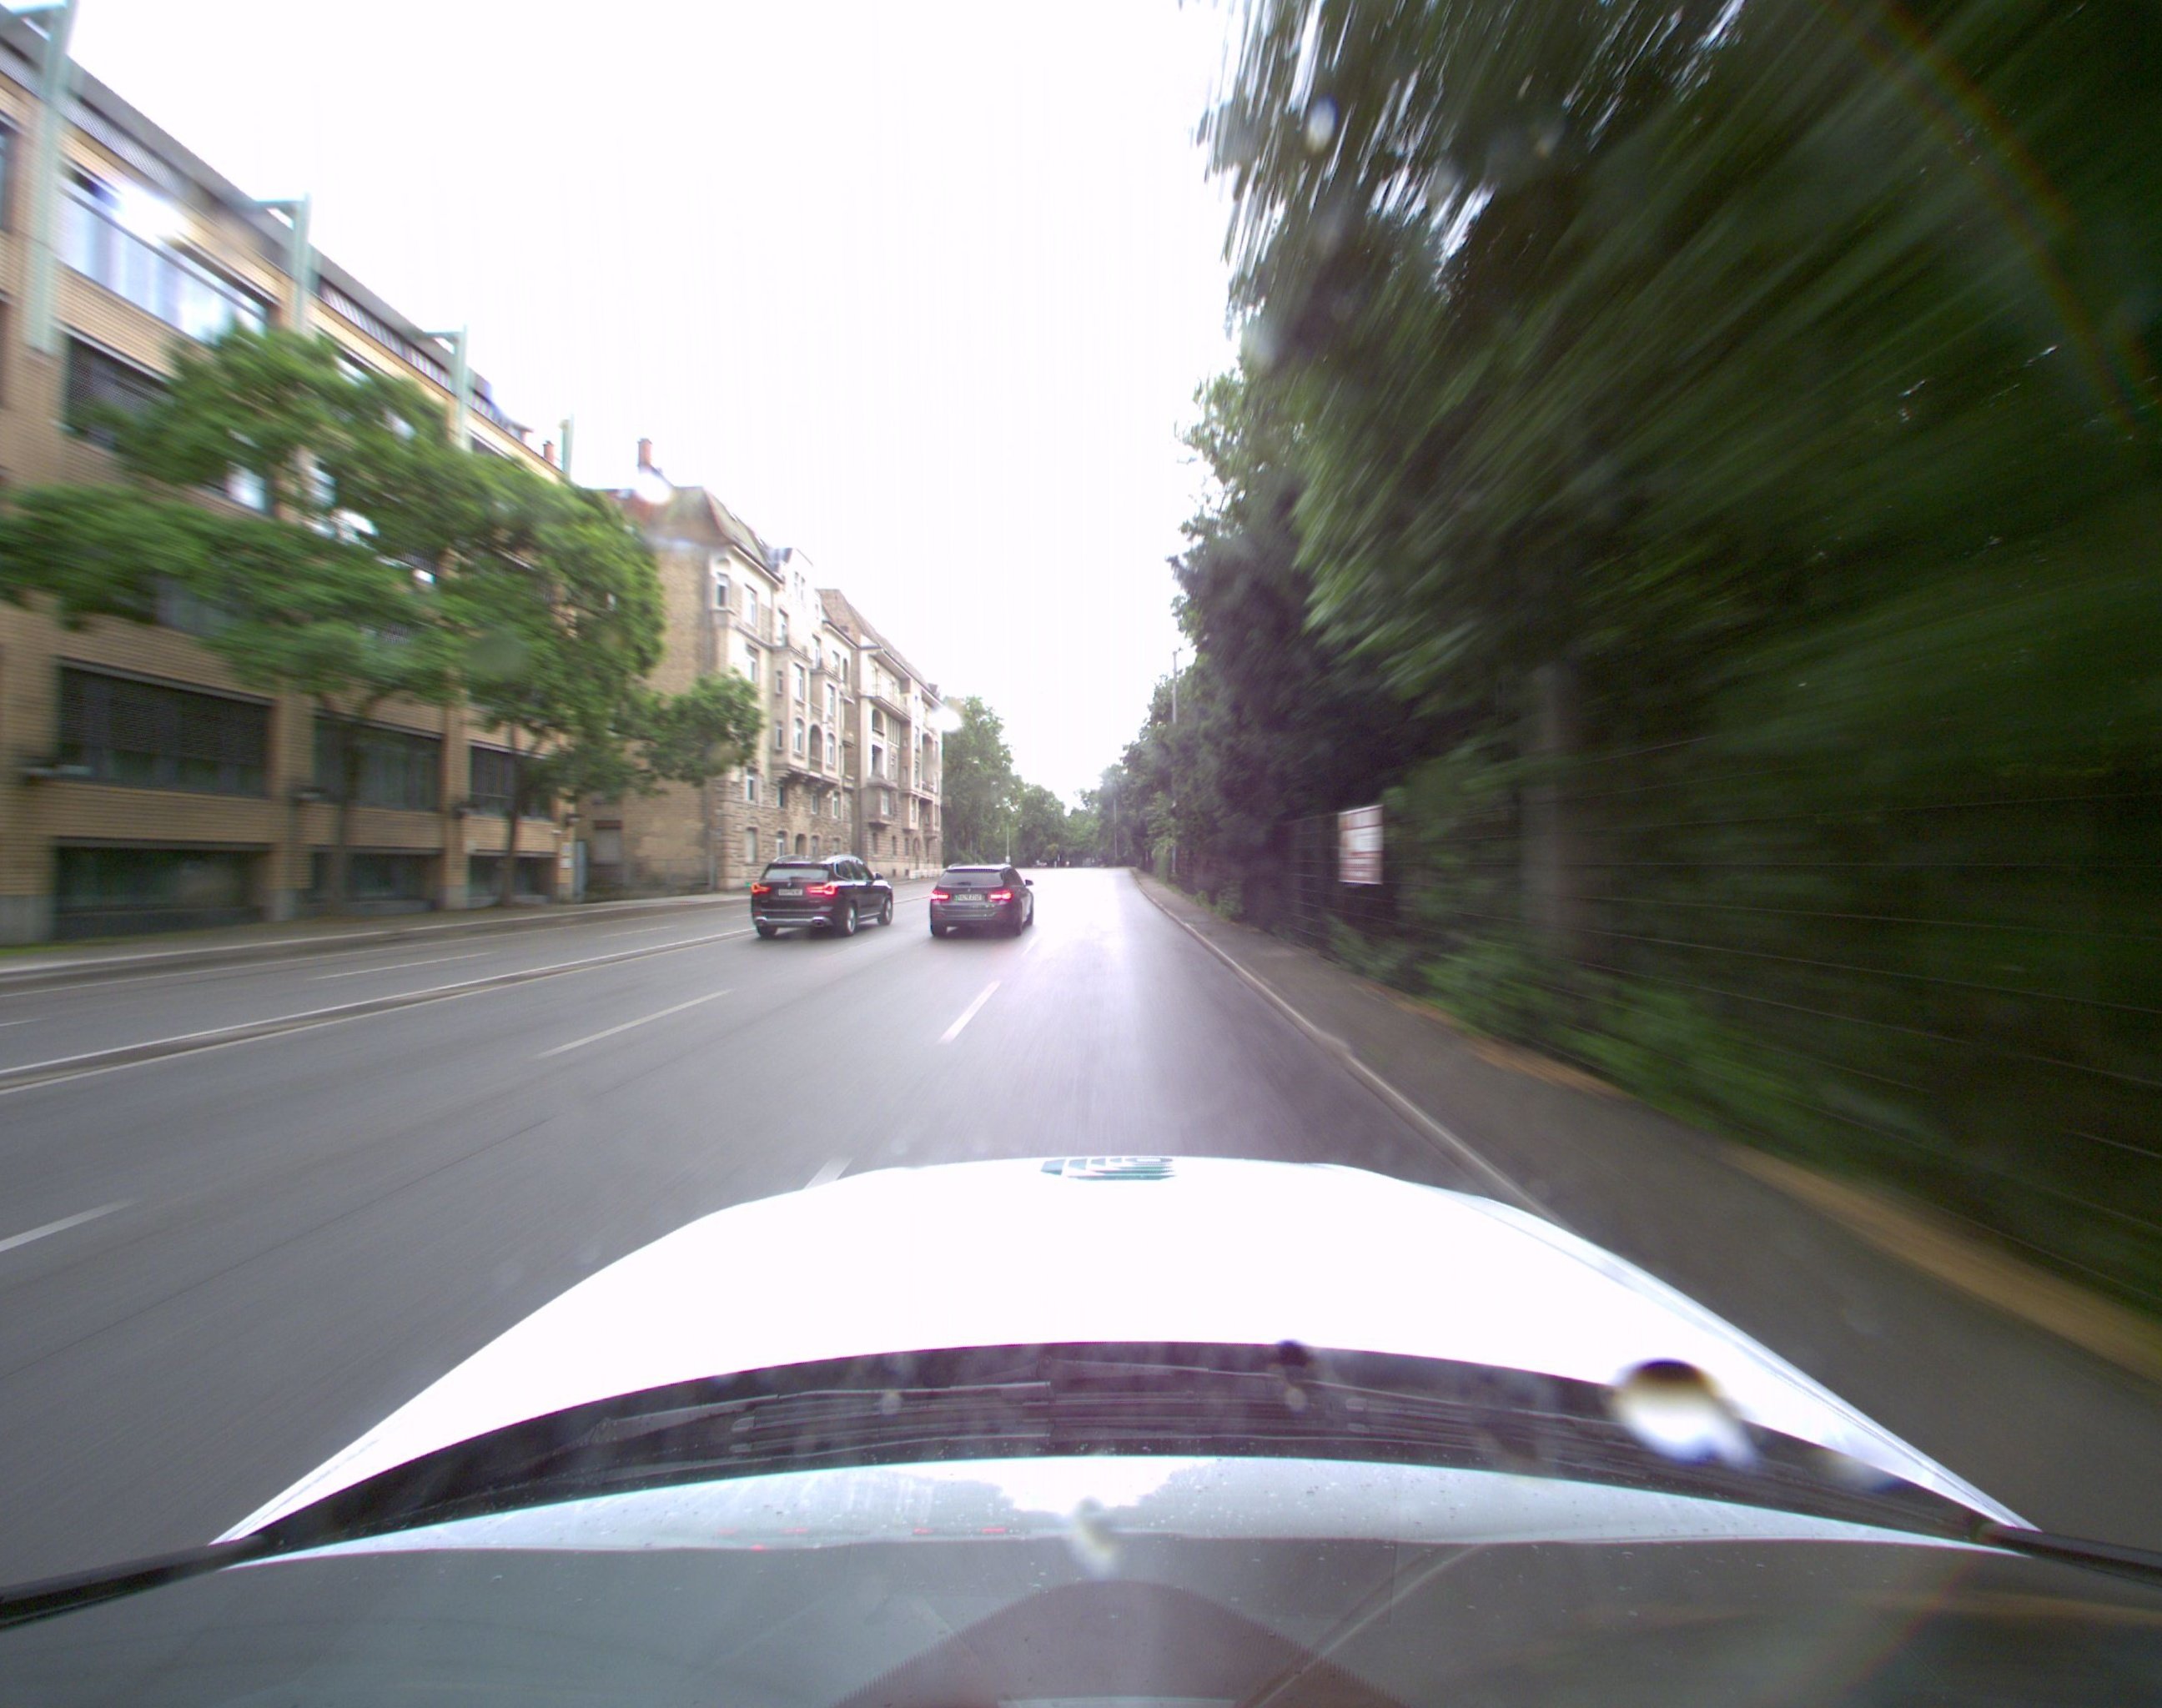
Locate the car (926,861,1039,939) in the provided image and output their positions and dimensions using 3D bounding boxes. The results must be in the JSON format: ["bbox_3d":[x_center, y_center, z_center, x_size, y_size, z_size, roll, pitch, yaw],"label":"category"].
[{"bbox_3d":[-1.971,0.888,17.591,1.751,1.432,4.414,1,-1,2],"label":"car"}]

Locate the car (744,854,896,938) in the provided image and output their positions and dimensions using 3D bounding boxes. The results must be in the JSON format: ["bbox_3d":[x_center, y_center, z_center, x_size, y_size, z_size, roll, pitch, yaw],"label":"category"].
[{"bbox_3d":[-5.445,0.820,17.637,1.751,1.586,4.414,0,-1,2],"label":"car"}]

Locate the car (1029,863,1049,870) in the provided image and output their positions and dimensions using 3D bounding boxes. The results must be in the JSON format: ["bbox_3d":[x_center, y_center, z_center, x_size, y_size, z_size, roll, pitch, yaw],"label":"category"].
[{"bbox_3d":[-8.876,2.634,172.087,1.702,1.427,4.317,4,-4,-44],"label":"car"}]
